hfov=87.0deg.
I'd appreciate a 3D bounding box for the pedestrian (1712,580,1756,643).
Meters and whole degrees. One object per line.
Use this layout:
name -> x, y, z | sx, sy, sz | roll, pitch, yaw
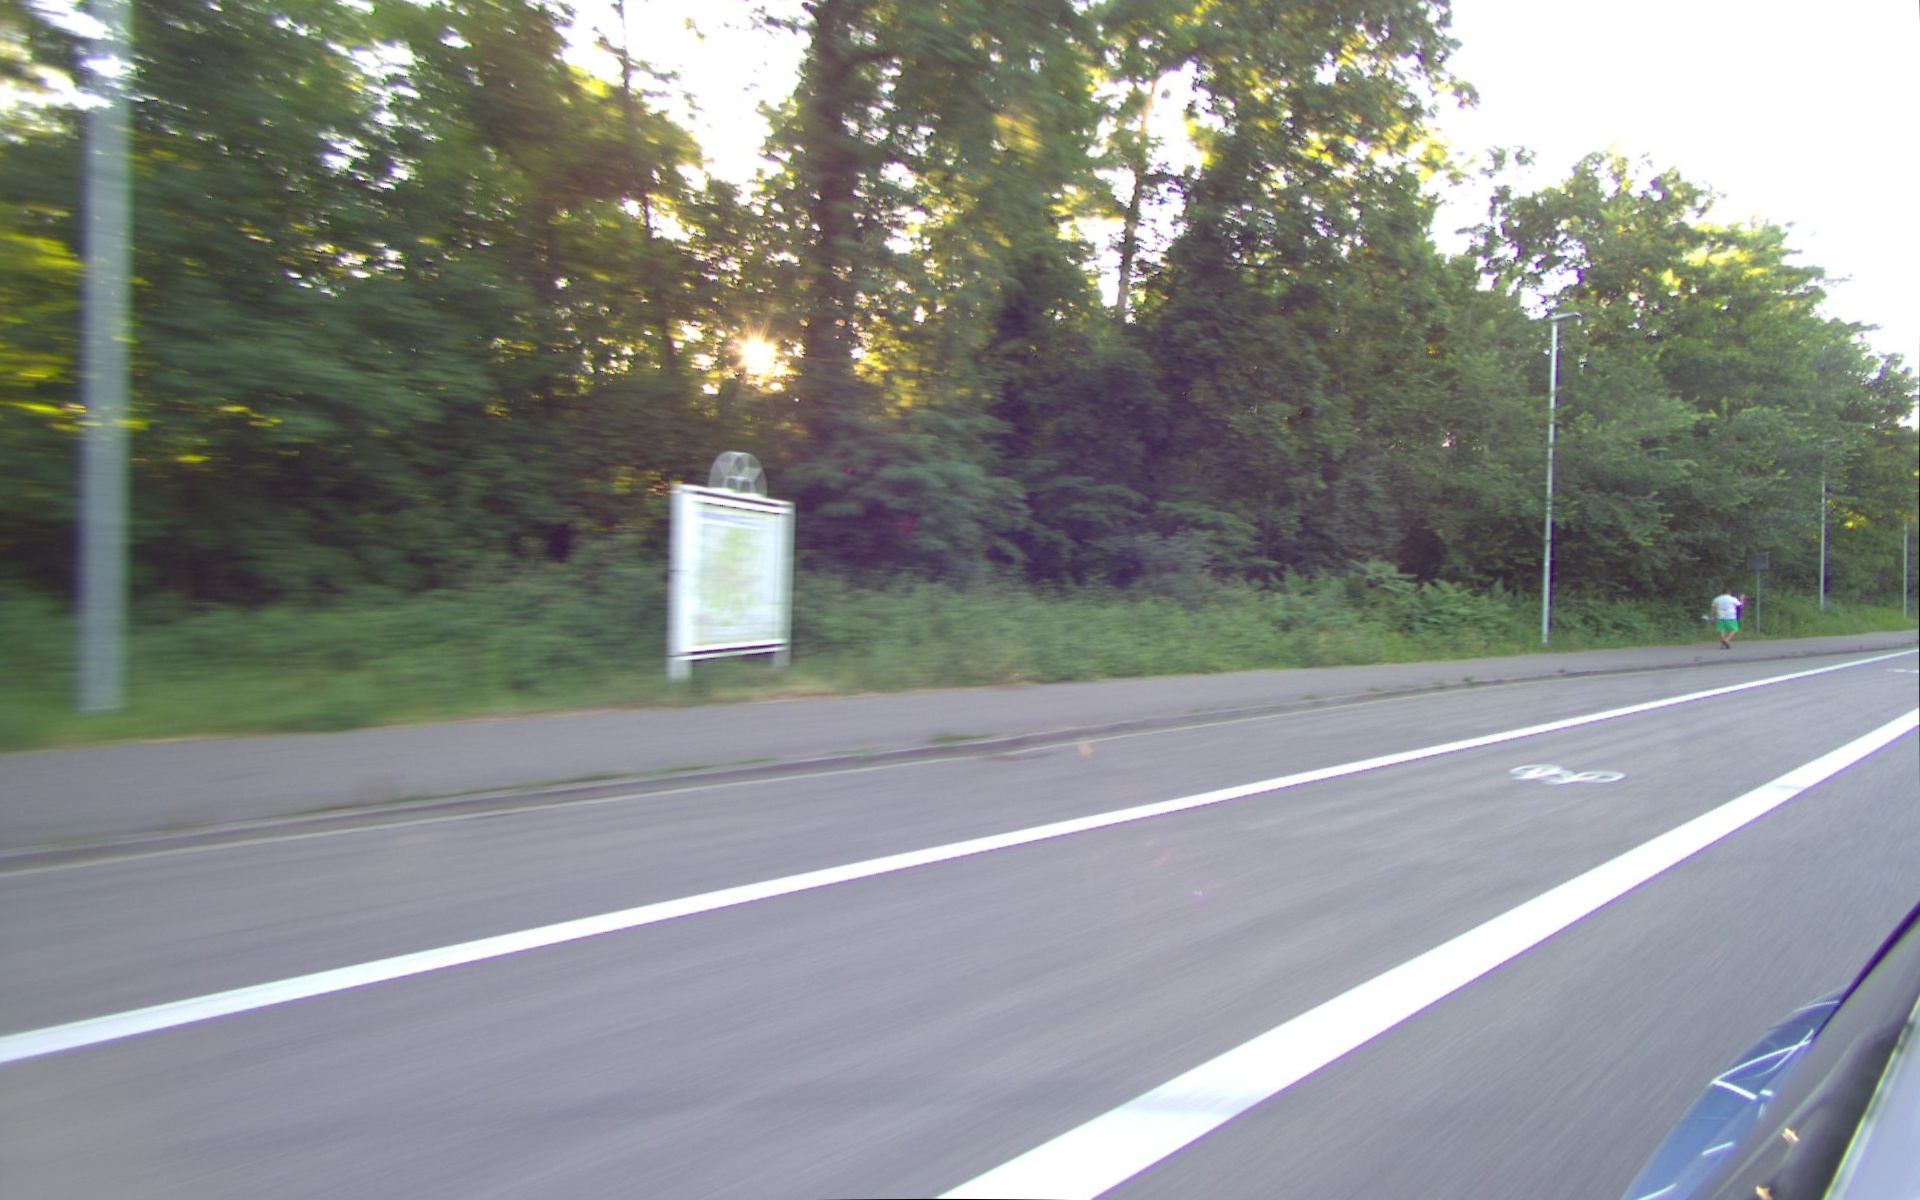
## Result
pedestrian -> 22.250, 0.312, 29.096 | 0.713, 1.773, 0.840 | 0, 1, -39
